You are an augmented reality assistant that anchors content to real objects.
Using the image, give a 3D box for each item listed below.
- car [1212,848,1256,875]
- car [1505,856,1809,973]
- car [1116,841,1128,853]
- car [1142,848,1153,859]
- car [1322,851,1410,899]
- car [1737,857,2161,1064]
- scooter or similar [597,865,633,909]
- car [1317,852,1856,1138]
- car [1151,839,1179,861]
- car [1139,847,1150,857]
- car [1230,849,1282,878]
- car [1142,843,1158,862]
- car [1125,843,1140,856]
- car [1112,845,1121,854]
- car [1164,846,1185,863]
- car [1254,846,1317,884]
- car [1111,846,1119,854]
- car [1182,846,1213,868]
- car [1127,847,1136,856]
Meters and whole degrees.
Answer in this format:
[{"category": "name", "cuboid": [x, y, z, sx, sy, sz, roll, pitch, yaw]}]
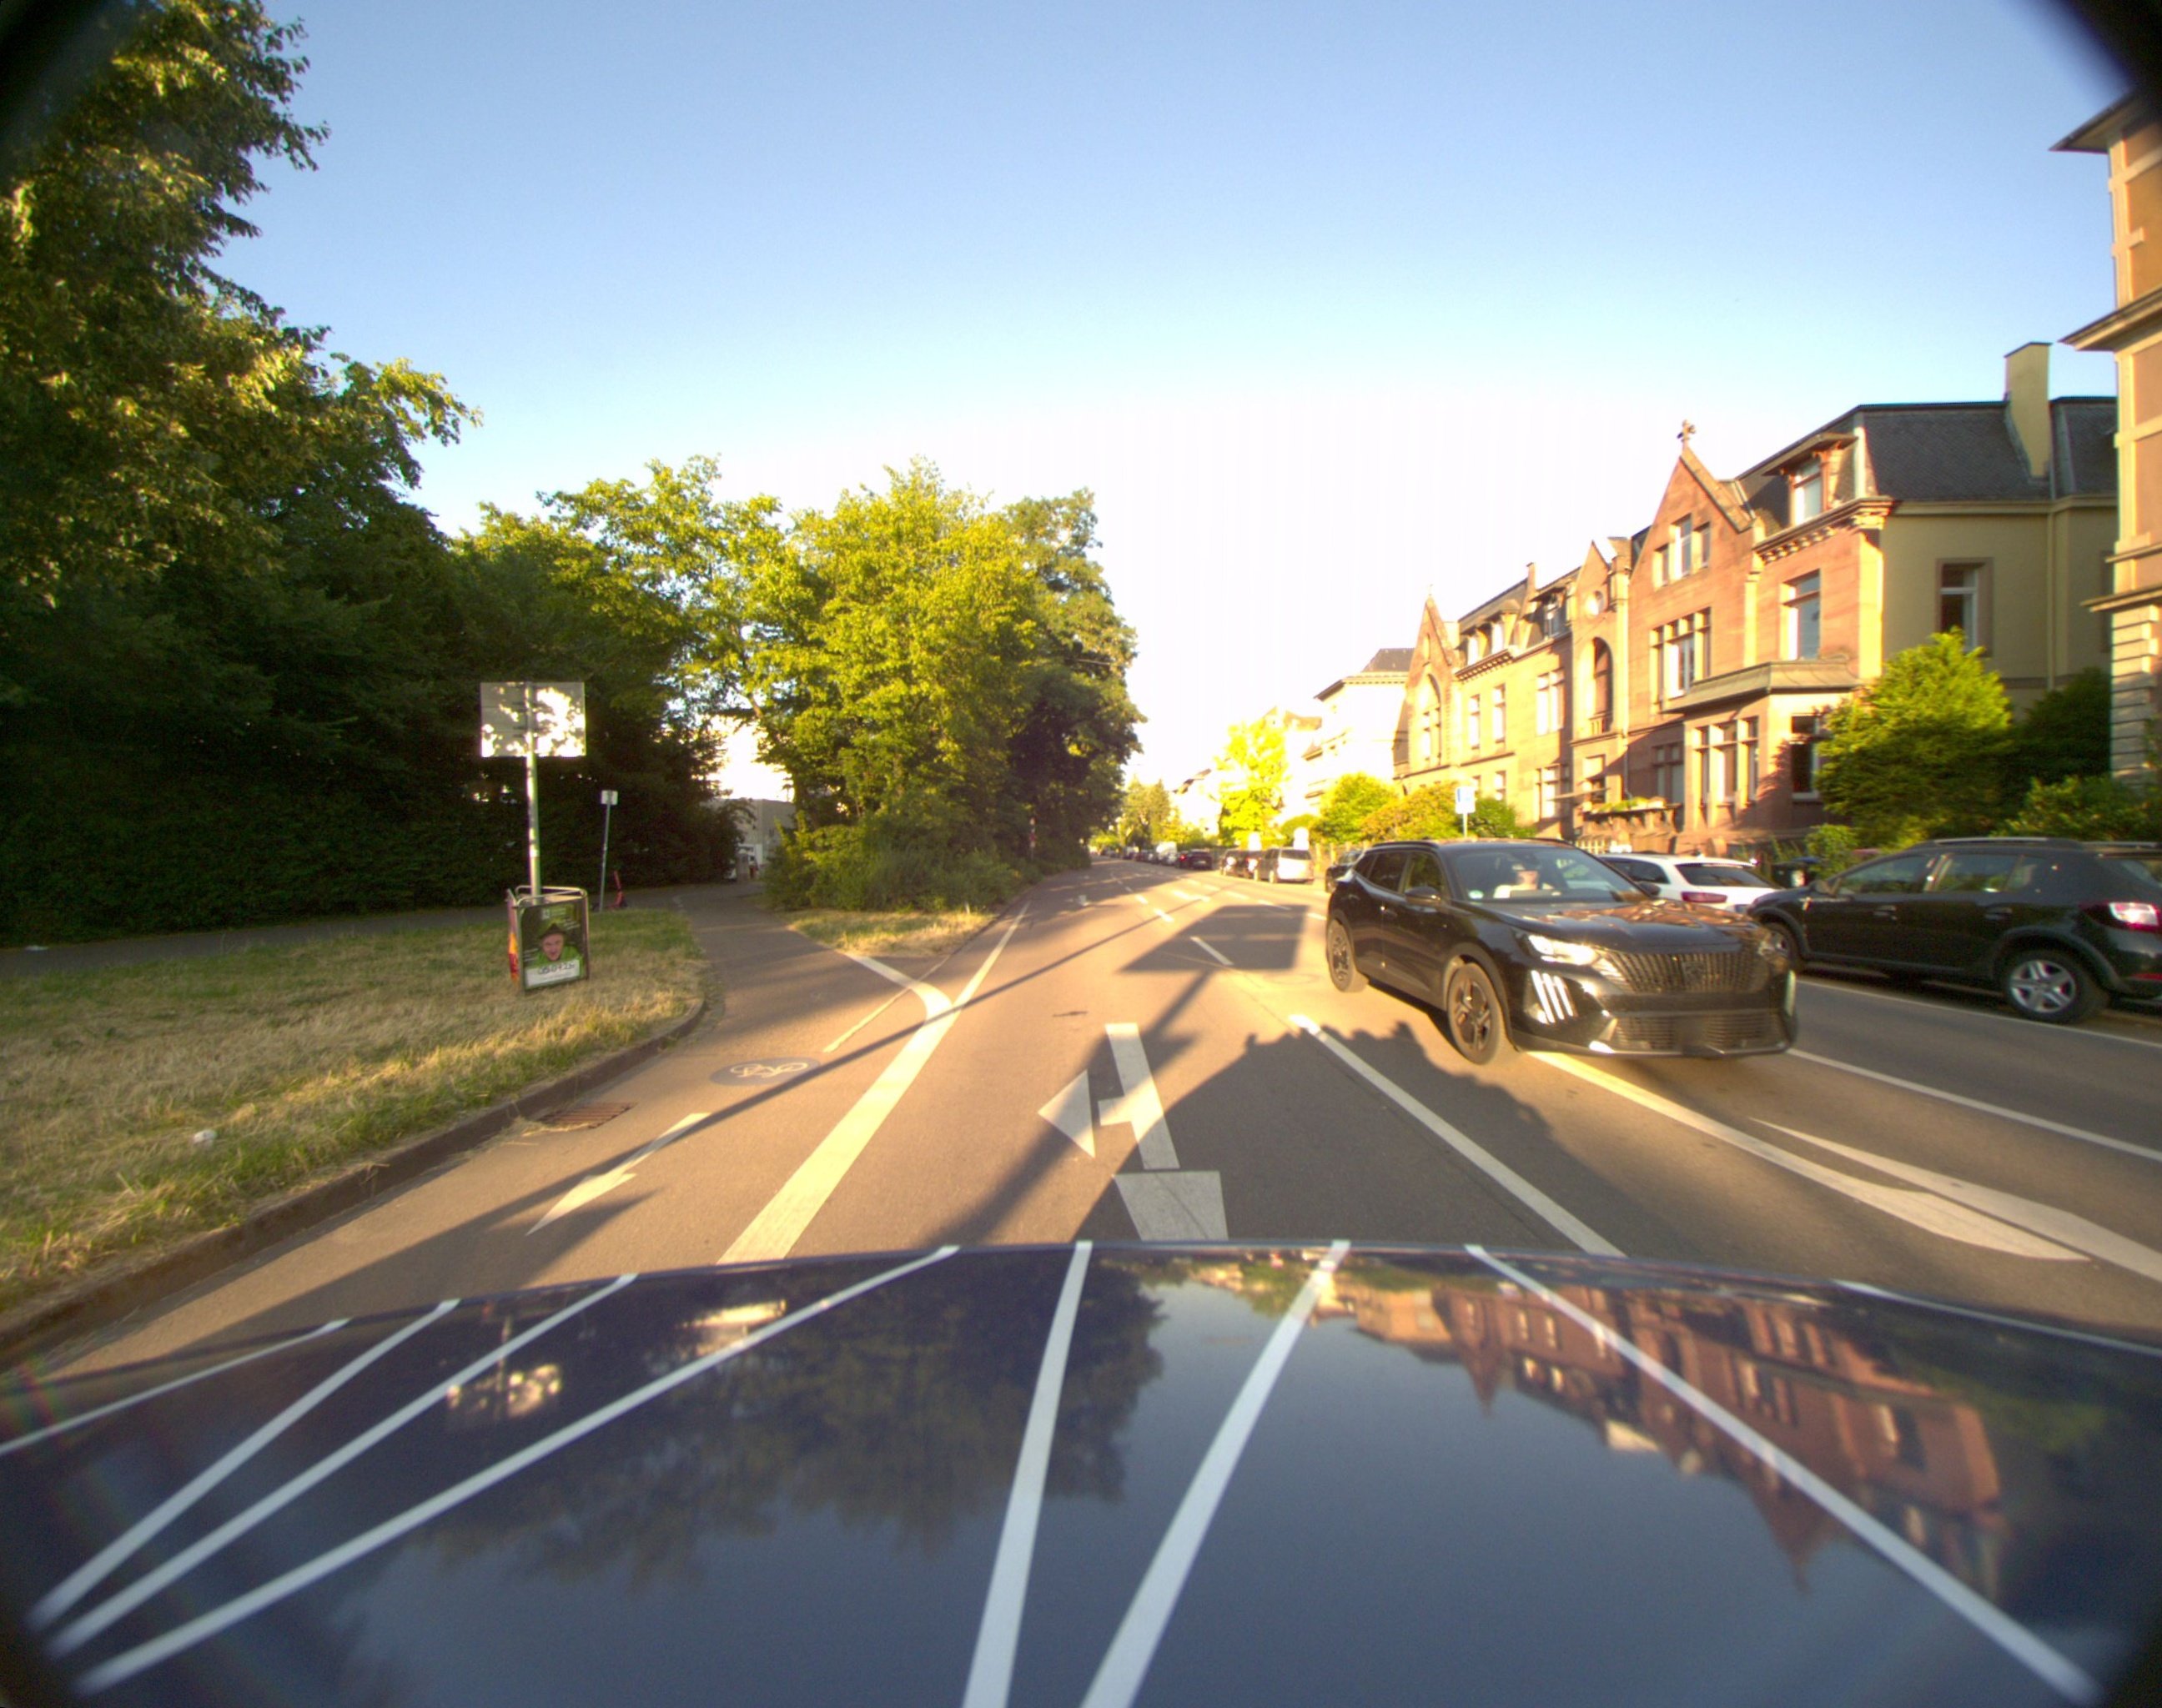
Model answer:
[{"category": "car", "cuboid": [8.790, 0.400, 43.852, 1.716, 1.442, 3.722, 0, 1, -1]}, {"category": "car", "cuboid": [8.857, 0.806, 12.272, 1.608, 1.435, 4.433, 2, 1, 2]}, {"category": "car", "cuboid": [8.425, -1.380, 157.488, 1.999, 2.443, 5.578, -1, 1, -1]}, {"category": "car", "cuboid": [8.784, -0.092, 100.191, 1.292, 1.430, 2.883, 0, 1, 0]}, {"category": "car", "cuboid": [9.161, 0.630, 24.698, 1.631, 1.437, 3.566, 0, 1, 2]}, {"category": "car", "cuboid": [8.992, 0.847, 7.612, 1.631, 1.526, 3.723, 2, 1, 2]}, {"category": "scooter or similar", "cuboid": [-11.846, 0.832, 19.323, 0.194, 1.079, 0.837, -2, 0, 15]}, {"category": "car", "cuboid": [3.385, 0.770, 6.152, 1.682, 1.527, 3.999, -1, 0, 0]}, {"category": "car", "cuboid": [9.049, -0.448, 82.268, 2.231, 2.355, 5.878, 0, 1, -1]}, {"category": "car", "cuboid": [8.803, -0.267, 104.797, 1.327, 1.430, 2.697, 0, 1, 0]}, {"category": "car", "cuboid": [8.945, 0.458, 39.137, 1.716, 1.442, 3.722, 0, 1, -1]}, {"category": "car", "cuboid": [8.578, -0.209, 94.579, 1.571, 2.253, 3.799, 0, 1, 0]}, {"category": "car", "cuboid": [8.967, -0.788, 132.575, 2.203, 2.201, 4.527, 0, 1, 0]}, {"category": "car", "cuboid": [8.097, -1.094, 174.806, 1.998, 2.002, 4.000, -2, 1, 1]}, {"category": "car", "cuboid": [9.227, 0.040, 75.291, 1.715, 1.596, 3.853, 0, 1, 1]}, {"category": "car", "cuboid": [9.062, 0.455, 33.980, 1.716, 1.579, 3.752, 0, 1, -1]}, {"category": "car", "cuboid": [9.113, -1.095, 205.596, 1.998, 2.002, 4.000, -1, 1, 1]}, {"category": "car", "cuboid": [8.858, 0.203, 58.067, 1.880, 1.596, 3.722, 0, 1, 1]}, {"category": "car", "cuboid": [8.447, -0.411, 127.321, 1.220, 1.430, 2.515, 0, 1, 0]}]
